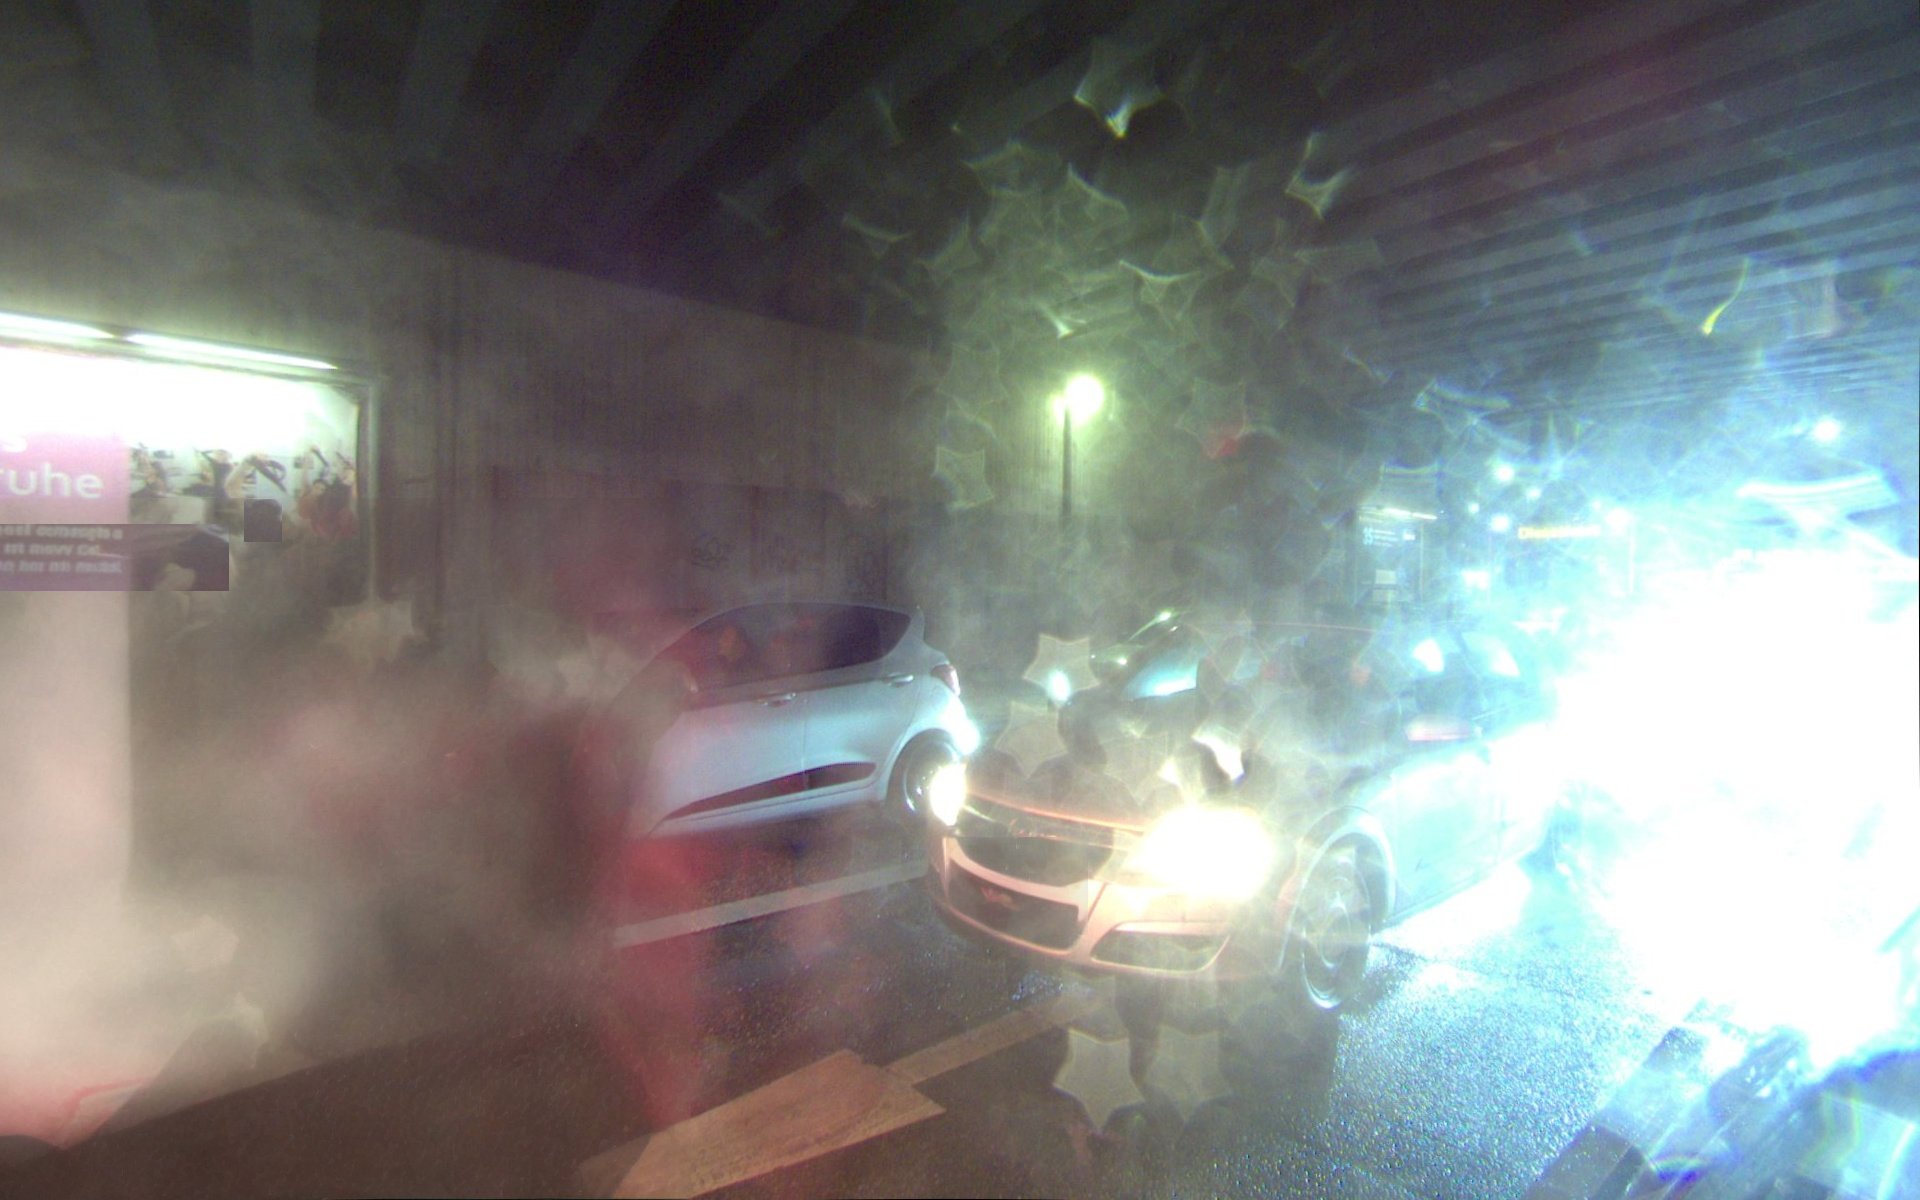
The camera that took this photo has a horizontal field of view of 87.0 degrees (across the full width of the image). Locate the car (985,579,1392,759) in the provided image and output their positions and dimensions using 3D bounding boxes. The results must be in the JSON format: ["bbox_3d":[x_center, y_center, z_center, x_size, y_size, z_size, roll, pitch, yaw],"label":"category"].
[{"bbox_3d":[2.465,0.547,10.112,4.489,1.408,1.754,1,0,-43],"label":"car"}]

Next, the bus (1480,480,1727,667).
[{"bbox_3d":[14.043,-0.450,21.609,2.768,3.163,9.610,0,0,43],"label":"bus"}]

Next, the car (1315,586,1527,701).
[{"bbox_3d":[6.883,0.543,14.945,1.750,1.449,3.701,2,1,43],"label":"car"}]

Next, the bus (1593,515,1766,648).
[{"bbox_3d":[20.587,-0.437,28.639,2.768,3.163,9.610,0,0,43],"label":"bus"}]

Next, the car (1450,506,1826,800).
[{"bbox_3d":[6.488,0.357,9.485,4.274,2.115,1.996,-1,0,-43],"label":"car"}]

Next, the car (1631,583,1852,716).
[{"bbox_3d":[10.580,0.551,13.607,3.705,1.531,1.865,-1,0,-44],"label":"car"}]

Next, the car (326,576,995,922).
[{"bbox_3d":[-1.624,0.615,6.115,3.532,1.477,1.636,-1,0,-42],"label":"car"}]

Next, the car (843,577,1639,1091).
[{"bbox_3d":[1.581,0.618,4.811,3.931,1.384,1.791,-2,2,-41],"label":"car"}]

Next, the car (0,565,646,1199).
[{"bbox_3d":[-2.701,0.680,0.978,4.273,1.422,1.719,-1,0,-41],"label":"car"}]

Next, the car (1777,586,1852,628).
[{"bbox_3d":[32.598,0.231,38.693,1.672,1.490,3.953,0,0,33],"label":"car"}]

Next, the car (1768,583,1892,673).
[{"bbox_3d":[16.393,0.451,19.067,1.624,1.522,3.940,0,0,42],"label":"car"}]
